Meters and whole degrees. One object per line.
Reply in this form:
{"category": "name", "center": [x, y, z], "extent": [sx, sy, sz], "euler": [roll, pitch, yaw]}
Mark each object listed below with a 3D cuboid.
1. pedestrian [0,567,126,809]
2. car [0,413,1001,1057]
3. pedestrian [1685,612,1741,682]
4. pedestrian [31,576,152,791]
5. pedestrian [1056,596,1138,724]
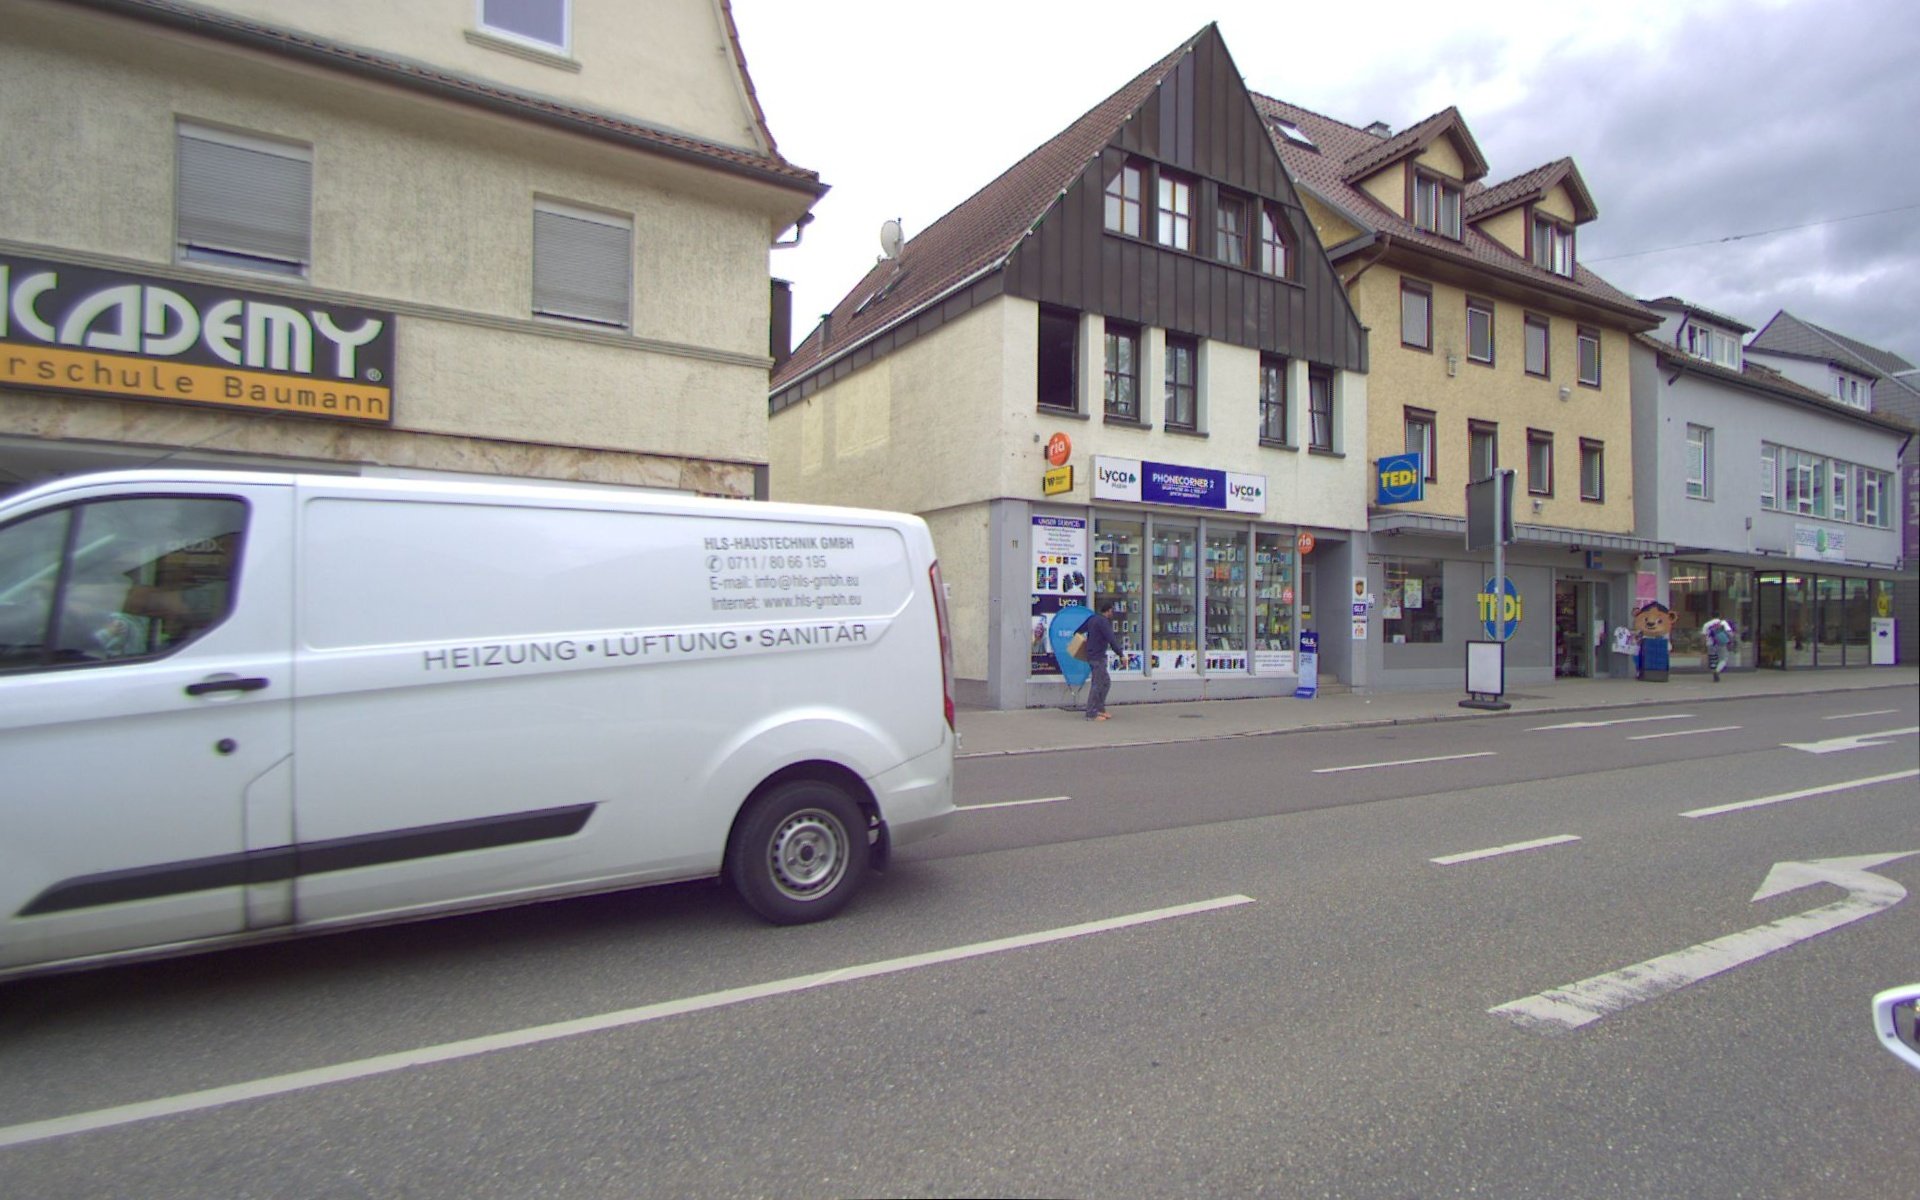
{"category": "pedestrian", "center": [-7.266, 0.686, 8.126], "extent": [0.673, 1.848, 0.630], "euler": [1, -2, -31]}
{"category": "car", "center": [-2.456, 0.473, 4.584], "extent": [5.082, 1.986, 1.951], "euler": [1, -3, -32]}
{"category": "pedestrian", "center": [18.493, 1.129, 24.672], "extent": [0.971, 1.656, 0.811], "euler": [0, 1, -36]}
{"category": "pedestrian", "center": [-7.584, 0.694, 8.805], "extent": [0.673, 1.785, 0.684], "euler": [1, 0, -30]}
{"category": "pedestrian", "center": [1.989, 0.842, 14.632], "extent": [0.797, 1.770, 0.862], "euler": [0, 2, -32]}
